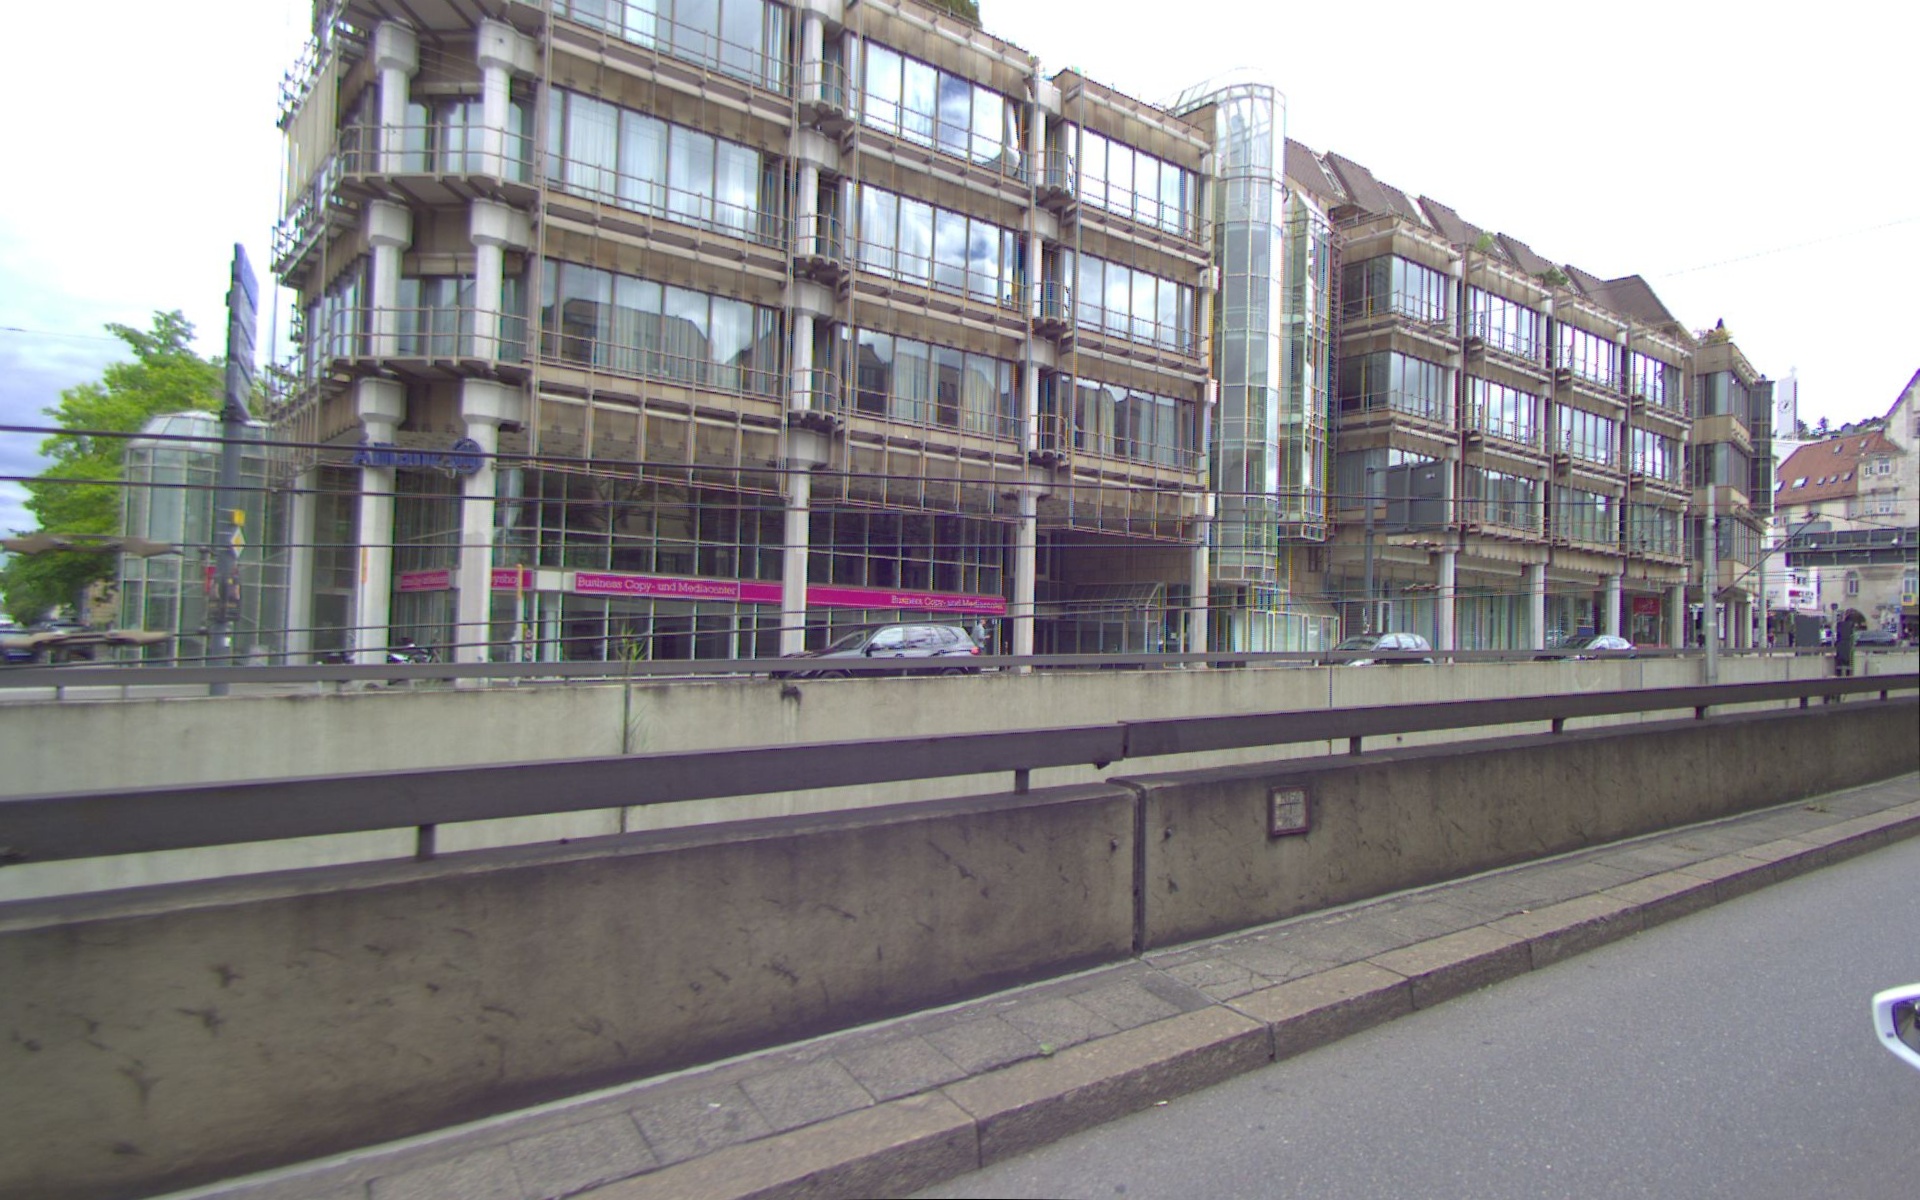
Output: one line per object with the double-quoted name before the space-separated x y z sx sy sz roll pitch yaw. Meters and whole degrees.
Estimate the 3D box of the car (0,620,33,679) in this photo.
"car" -28.656 1.414 29.481 1.634 1.683 3.564 2 -2 -35

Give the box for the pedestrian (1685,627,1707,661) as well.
"pedestrian" 40.823 2.440 55.680 0.731 1.835 0.726 2 0 -32

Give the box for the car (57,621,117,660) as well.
"car" -39.002 1.778 44.919 1.634 1.683 3.564 2 -2 -35

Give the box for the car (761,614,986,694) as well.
"car" -1.824 1.132 21.854 4.595 1.581 1.802 2 -2 -34

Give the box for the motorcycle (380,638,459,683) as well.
"motorcycle" -13.882 1.532 25.821 0.634 1.089 1.666 2 0 37

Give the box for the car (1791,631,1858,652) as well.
"car" 68.173 3.254 79.277 3.981 1.521 1.662 0 -1 39

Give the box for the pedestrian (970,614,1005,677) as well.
"pedestrian" 0.817 1.342 29.782 0.731 1.816 0.726 2 0 -32

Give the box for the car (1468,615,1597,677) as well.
"car" 19.372 1.569 33.953 4.332 1.939 1.982 3 -1 -33

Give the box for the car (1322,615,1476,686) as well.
"car" 13.194 1.484 30.102 4.740 1.989 1.982 2 -2 -34

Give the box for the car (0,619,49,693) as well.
"car" -23.061 1.289 23.873 1.634 1.683 3.564 2 -2 -35

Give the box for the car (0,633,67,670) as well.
"car" -31.244 1.689 33.668 1.524 1.147 3.564 2 -2 -35

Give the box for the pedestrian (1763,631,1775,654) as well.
"pedestrian" 63.896 3.359 79.312 0.569 1.803 0.508 1 -1 -24

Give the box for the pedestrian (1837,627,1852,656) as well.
"pedestrian" 55.698 2.595 63.256 0.569 1.803 0.508 1 -1 -24
